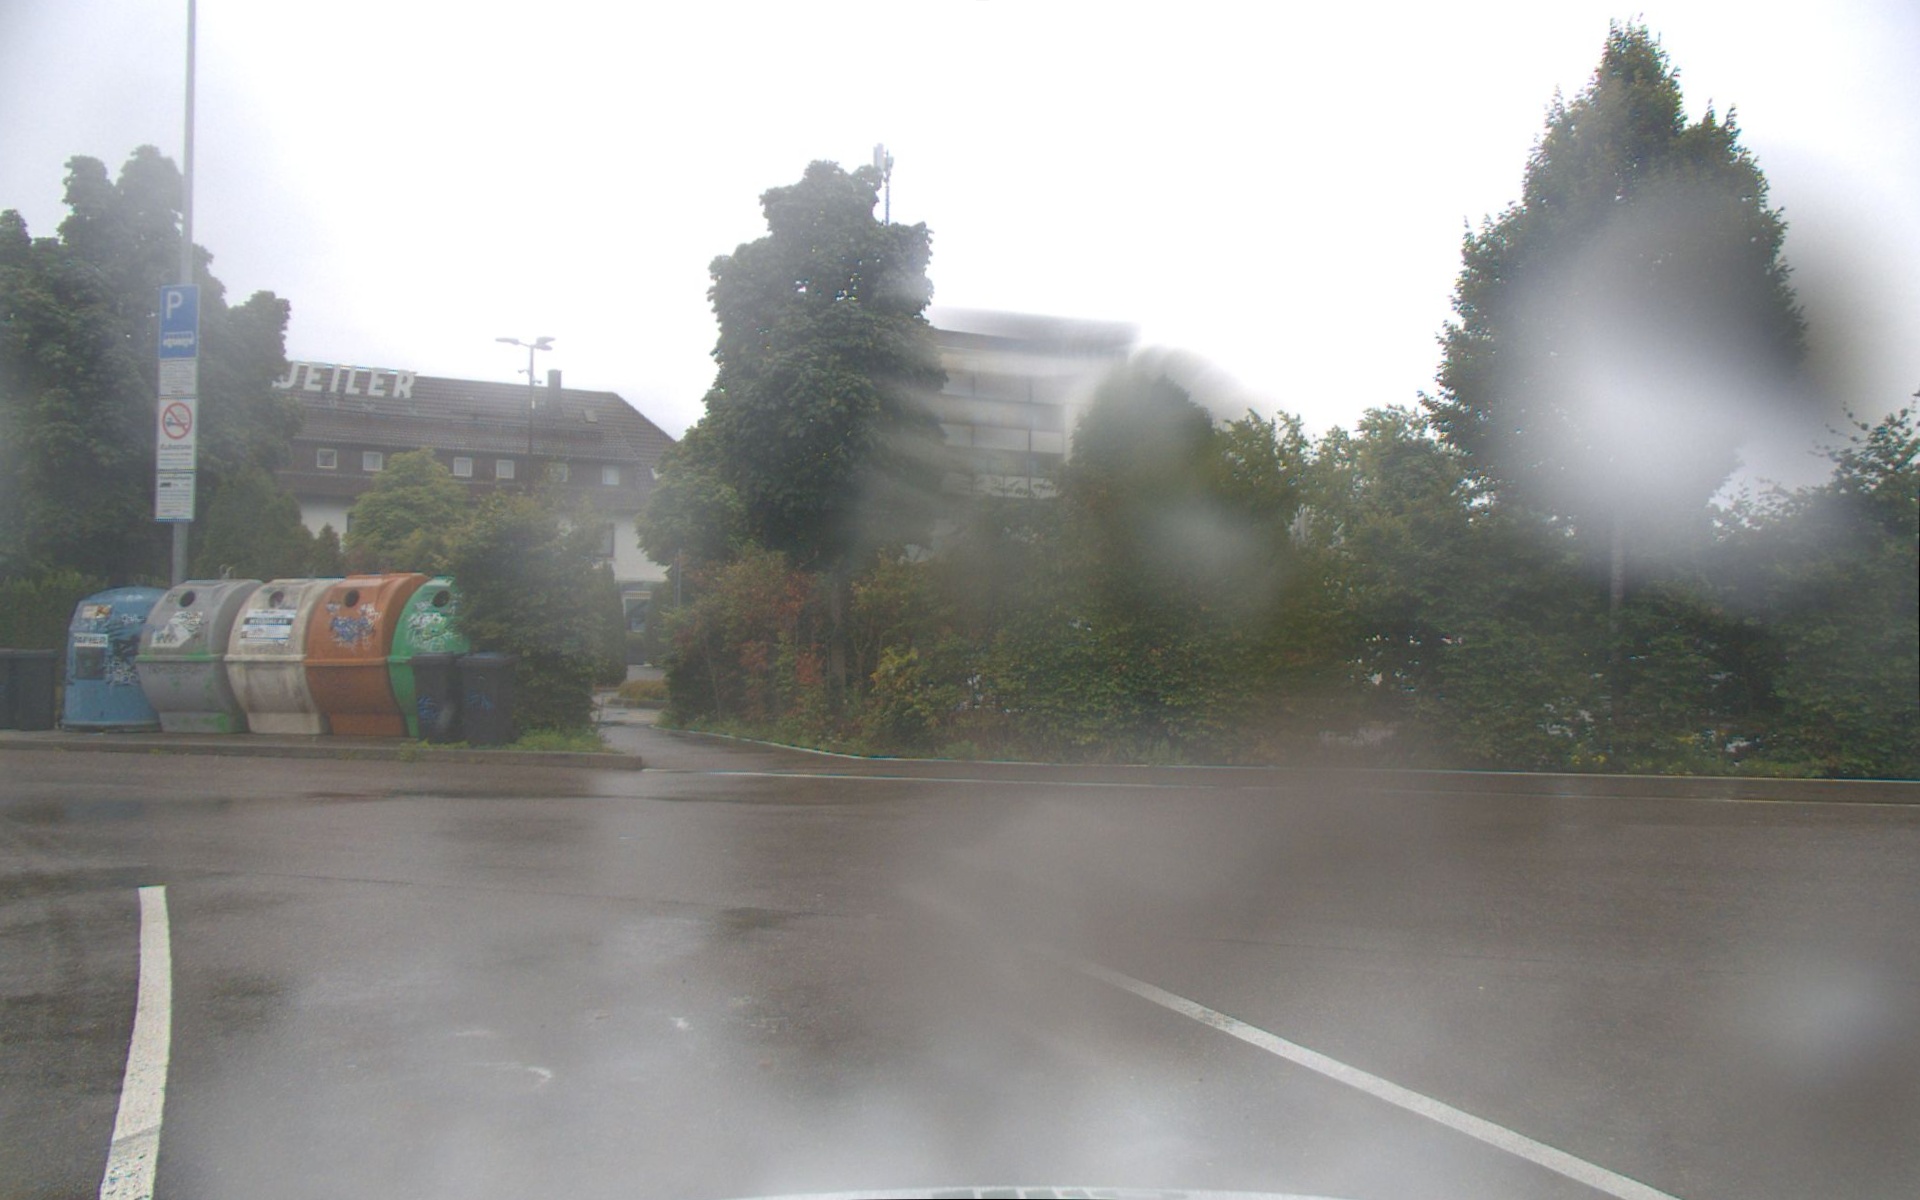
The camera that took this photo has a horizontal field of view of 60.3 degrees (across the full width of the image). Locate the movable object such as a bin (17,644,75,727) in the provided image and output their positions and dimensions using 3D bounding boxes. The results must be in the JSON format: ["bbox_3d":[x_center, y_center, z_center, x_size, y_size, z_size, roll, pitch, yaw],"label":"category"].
[{"bbox_3d":[-10.562,0.980,19.114,0.480,0.933,0.447,-1,-1,41],"label":"movable object such as a bin"}]

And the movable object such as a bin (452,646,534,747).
[{"bbox_3d":[-4.558,0.931,16.143,0.624,0.936,0.549,0,-1,-38],"label":"movable object such as a bin"}]

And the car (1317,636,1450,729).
[{"bbox_3d":[7.695,1.414,29.740,1.841,1.498,4.769,-1,-1,20],"label":"car"}]

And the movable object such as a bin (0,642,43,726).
[{"bbox_3d":[-11.055,0.970,19.343,0.480,0.955,0.447,-1,-1,41],"label":"movable object such as a bin"}]

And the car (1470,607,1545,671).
[{"bbox_3d":[15.534,1.095,46.835,1.757,1.722,4.048,-1,-1,22],"label":"car"}]

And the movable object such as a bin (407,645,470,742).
[{"bbox_3d":[-5.244,0.930,16.635,0.490,0.936,0.410,0,-1,-38],"label":"movable object such as a bin"}]
